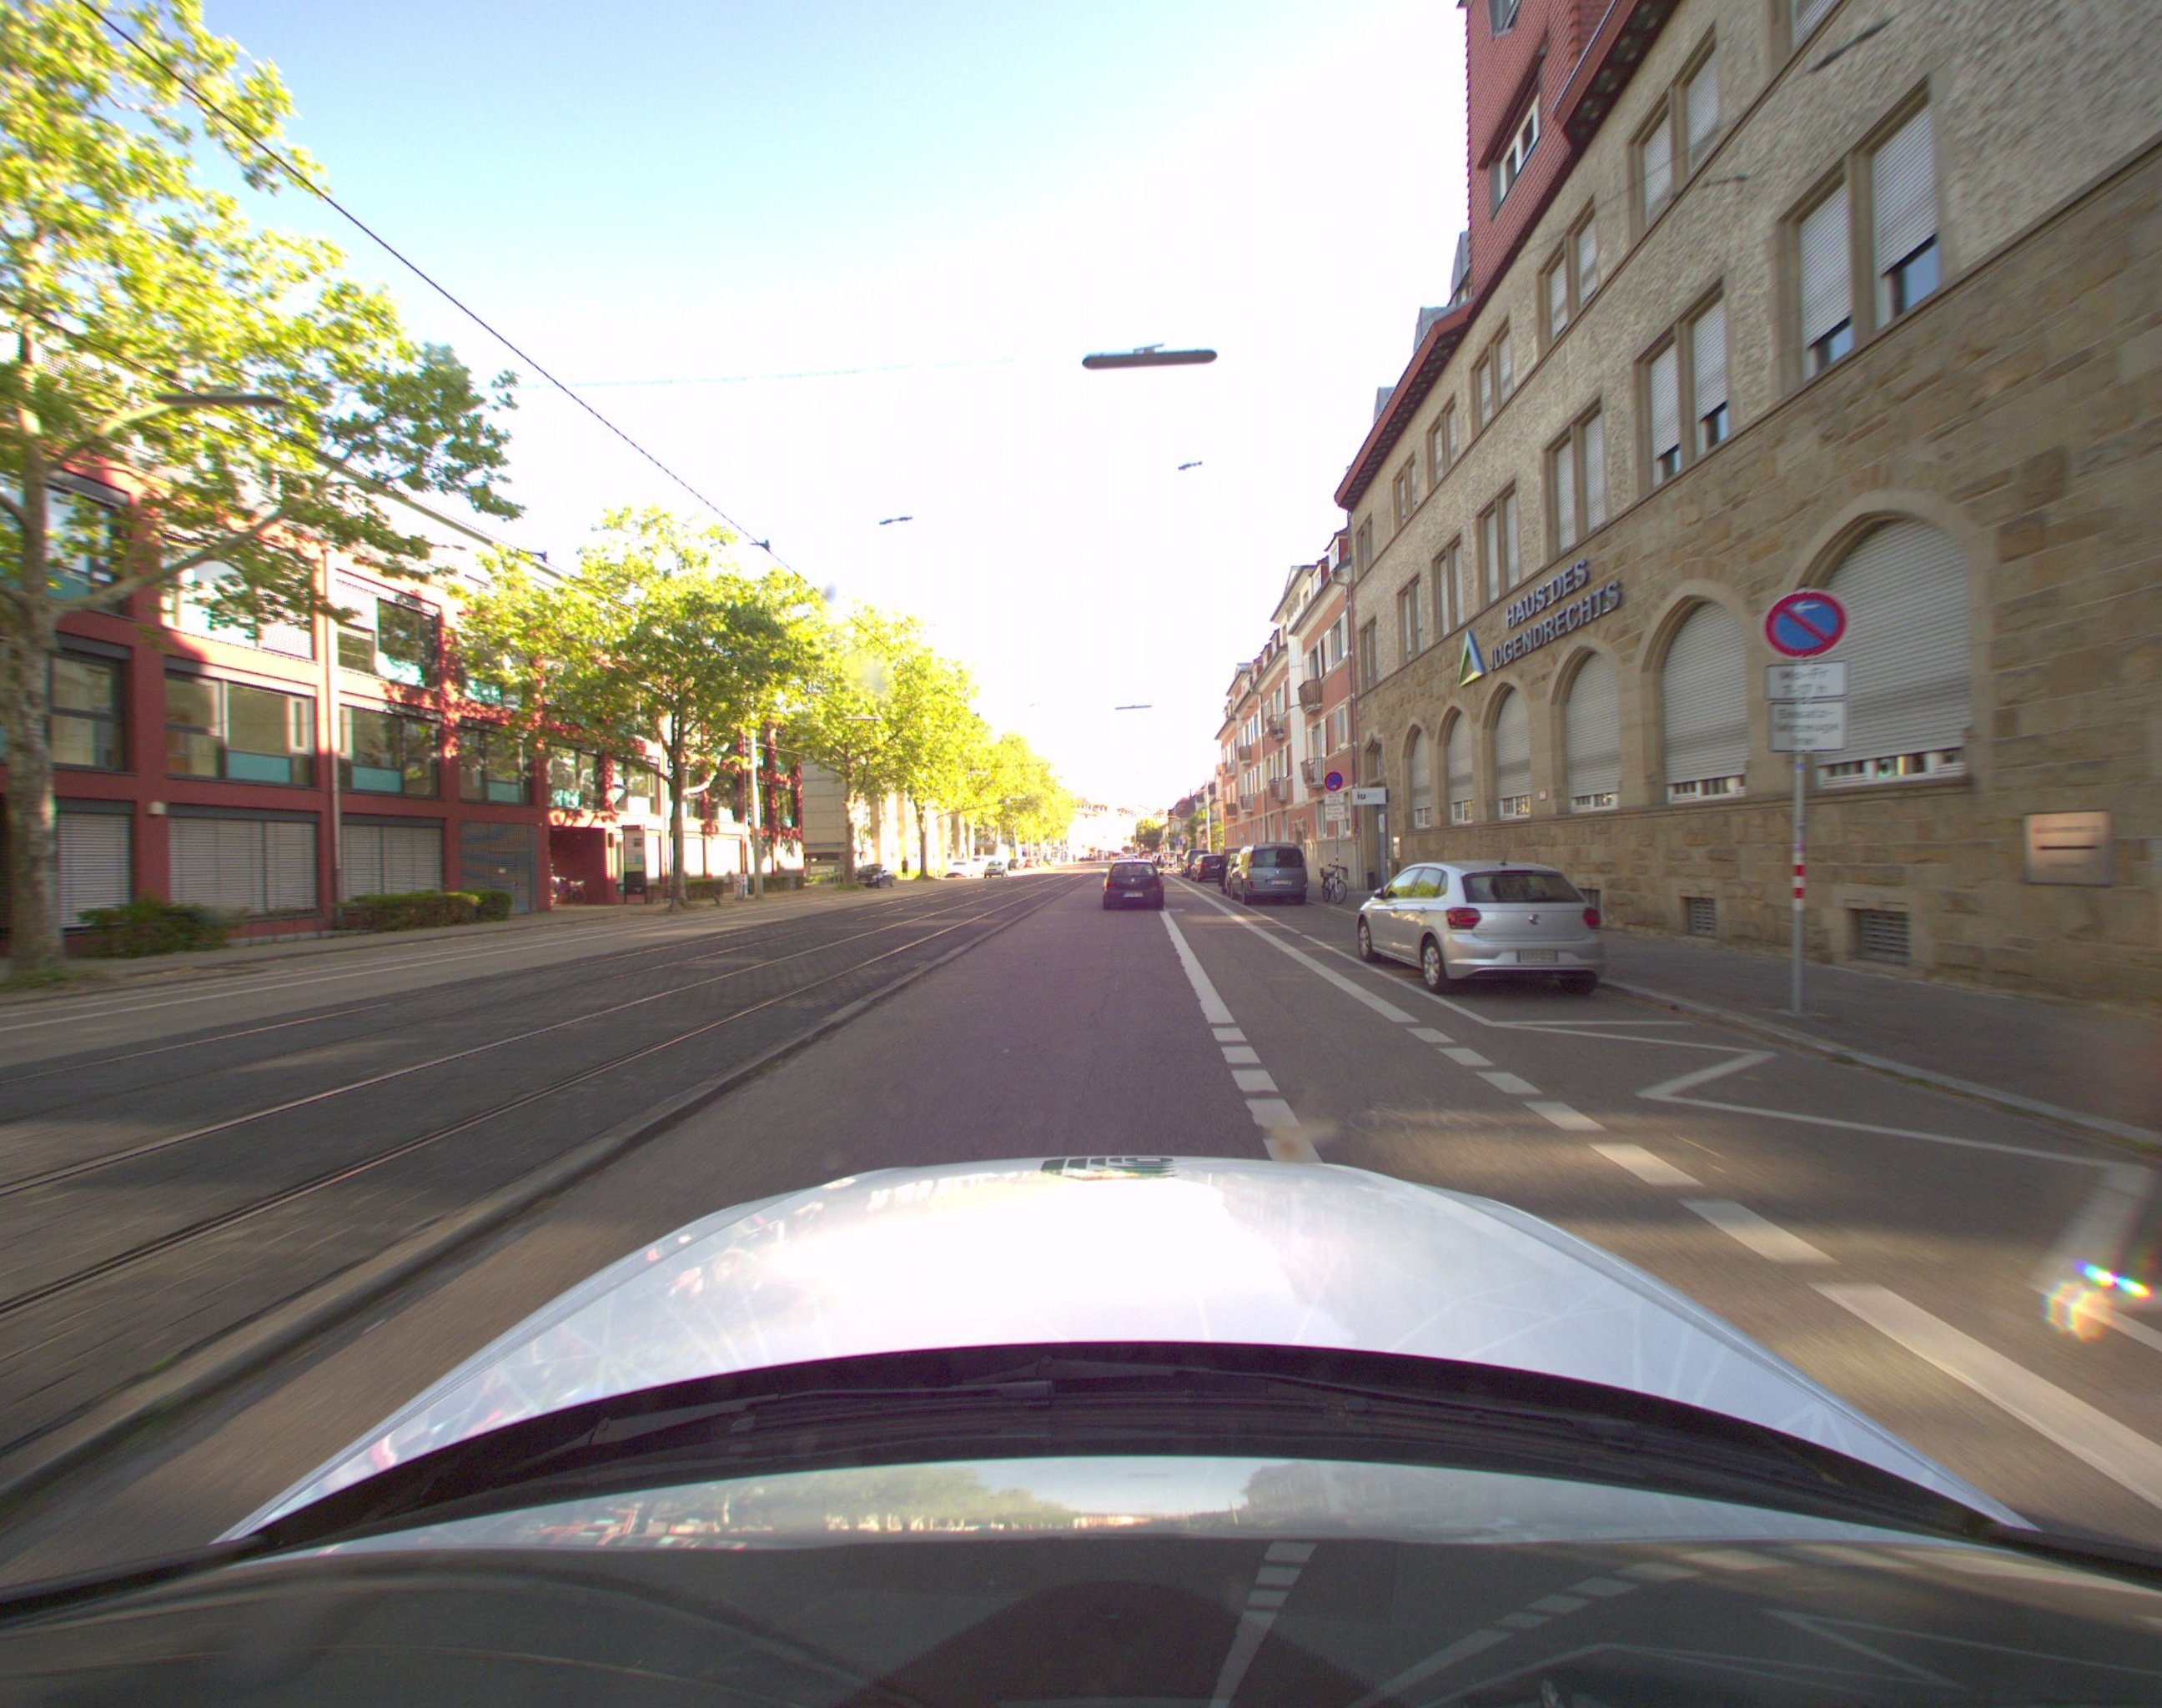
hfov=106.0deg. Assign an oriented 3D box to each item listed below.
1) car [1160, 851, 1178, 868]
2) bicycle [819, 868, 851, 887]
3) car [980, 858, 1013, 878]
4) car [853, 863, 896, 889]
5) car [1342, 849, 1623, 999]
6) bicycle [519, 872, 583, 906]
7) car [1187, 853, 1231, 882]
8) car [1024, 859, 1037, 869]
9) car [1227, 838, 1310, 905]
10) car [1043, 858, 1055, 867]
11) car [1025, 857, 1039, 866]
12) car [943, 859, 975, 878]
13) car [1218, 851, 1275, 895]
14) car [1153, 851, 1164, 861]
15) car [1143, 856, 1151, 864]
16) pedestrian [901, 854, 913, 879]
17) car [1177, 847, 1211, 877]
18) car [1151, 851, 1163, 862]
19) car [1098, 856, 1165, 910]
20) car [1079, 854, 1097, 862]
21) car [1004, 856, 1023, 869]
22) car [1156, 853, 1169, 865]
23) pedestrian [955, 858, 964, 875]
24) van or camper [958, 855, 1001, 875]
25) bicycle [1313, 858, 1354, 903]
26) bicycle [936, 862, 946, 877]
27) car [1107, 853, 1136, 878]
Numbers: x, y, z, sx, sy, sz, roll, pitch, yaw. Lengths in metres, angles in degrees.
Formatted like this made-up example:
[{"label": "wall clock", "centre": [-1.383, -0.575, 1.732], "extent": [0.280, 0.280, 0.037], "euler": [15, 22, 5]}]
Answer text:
[{"label": "car", "centre": [9.561, 0.553, 88.671], "extent": [1.751, 1.838, 3.551], "euler": [0, 0, 3]}, {"label": "bicycle", "centre": [-16.946, 1.603, 56.028], "extent": [2.000, 1.278, 0.665], "euler": [0, 0, 3]}, {"label": "car", "centre": [-7.057, 1.136, 68.353], "extent": [1.743, 1.518, 4.079], "euler": [-4, -1, 7]}, {"label": "car", "centre": [-12.475, 1.340, 49.338], "extent": [1.500, 1.454, 3.467], "euler": [-1, -2, 5]}, {"label": "car", "centre": [4.716, 0.702, 10.308], "extent": [1.706, 1.501, 4.230], "euler": [0, 0, 4]}, {"label": "bicycle", "centre": [-20.369, 1.352, 31.291], "extent": [2.055, 1.272, 0.618], "euler": [0, 0, 1]}, {"label": "car", "centre": [6.986, 0.715, 44.901], "extent": [1.747, 1.511, 4.764], "euler": [0, 0, 1]}, {"label": "car", "centre": [-7.709, 1.529, 124.703], "extent": [1.563, 1.533, 3.575], "euler": [-2, -1, 3]}, {"label": "car", "centre": [5.694, 0.487, 25.324], "extent": [1.745, 1.855, 4.820], "euler": [-1, 0, 4]}, {"label": "car", "centre": [-6.004, 1.639, 153.286], "extent": [1.876, 1.669, 3.807], "euler": [0, 0, 2]}, {"label": "car", "centre": [-8.015, 1.246, 133.977], "extent": [1.785, 1.465, 3.839], "euler": [1, 0, 3]}, {"label": "car", "centre": [-10.954, 1.283, 73.605], "extent": [2.004, 1.572, 4.696], "euler": [0, 0, 2]}, {"label": "car", "centre": [6.030, 0.671, 29.959], "extent": [1.624, 1.511, 3.721], "euler": [0, 0, 5]}, {"label": "car", "centre": [11.990, 0.306, 126.375], "extent": [1.573, 1.375, 4.004], "euler": [-2, 0, 3]}, {"label": "car", "centre": [13.952, 1.249, 172.576], "extent": [1.661, 1.598, 3.653], "euler": [-1, 0, 3]}, {"label": "pedestrian", "centre": [-13.423, 0.950, 62.728], "extent": [0.788, 1.870, 0.665], "euler": [0, 0, -25]}, {"label": "car", "centre": [7.395, 0.507, 53.514], "extent": [1.696, 1.810, 4.273], "euler": [2, 0, 2]}, {"label": "car", "centre": [12.189, 0.397, 131.008], "extent": [1.809, 1.799, 4.004], "euler": [-2, 0, 3]}, {"label": "car", "centre": [1.439, 0.789, 23.853], "extent": [1.742, 1.375, 4.002], "euler": [-2, 0, 2]}, {"label": "car", "centre": [1.573, 0.939, 192.824], "extent": [3.984, 2.013, 1.995], "euler": [0, 0, -8]}, {"label": "car", "centre": [-8.950, 1.088, 108.094], "extent": [1.880, 1.666, 4.004], "euler": [-2, 0, 3]}, {"label": "car", "centre": [10.827, 0.719, 108.409], "extent": [1.654, 1.526, 4.040], "euler": [-2, 0, 3]}, {"label": "pedestrian", "centre": [-12.946, 1.295, 87.011], "extent": [0.793, 1.820, 0.671], "euler": [0, 0, 3]}, {"label": "van or camper", "centre": [-10.388, 1.125, 83.951], "extent": [2.042, 1.949, 5.218], "euler": [0, 0, 23]}, {"label": "bicycle", "centre": [7.116, 0.720, 23.062], "extent": [0.512, 1.139, 2.260], "euler": [-3, 0, 3]}, {"label": "bicycle", "centre": [-11.719, 1.320, 68.048], "extent": [0.579, 1.209, 1.652], "euler": [-2, 0, -3]}, {"label": "car", "centre": [2.676, 0.713, 53.051], "extent": [1.741, 1.537, 3.896], "euler": [-2, 0, 4]}]
